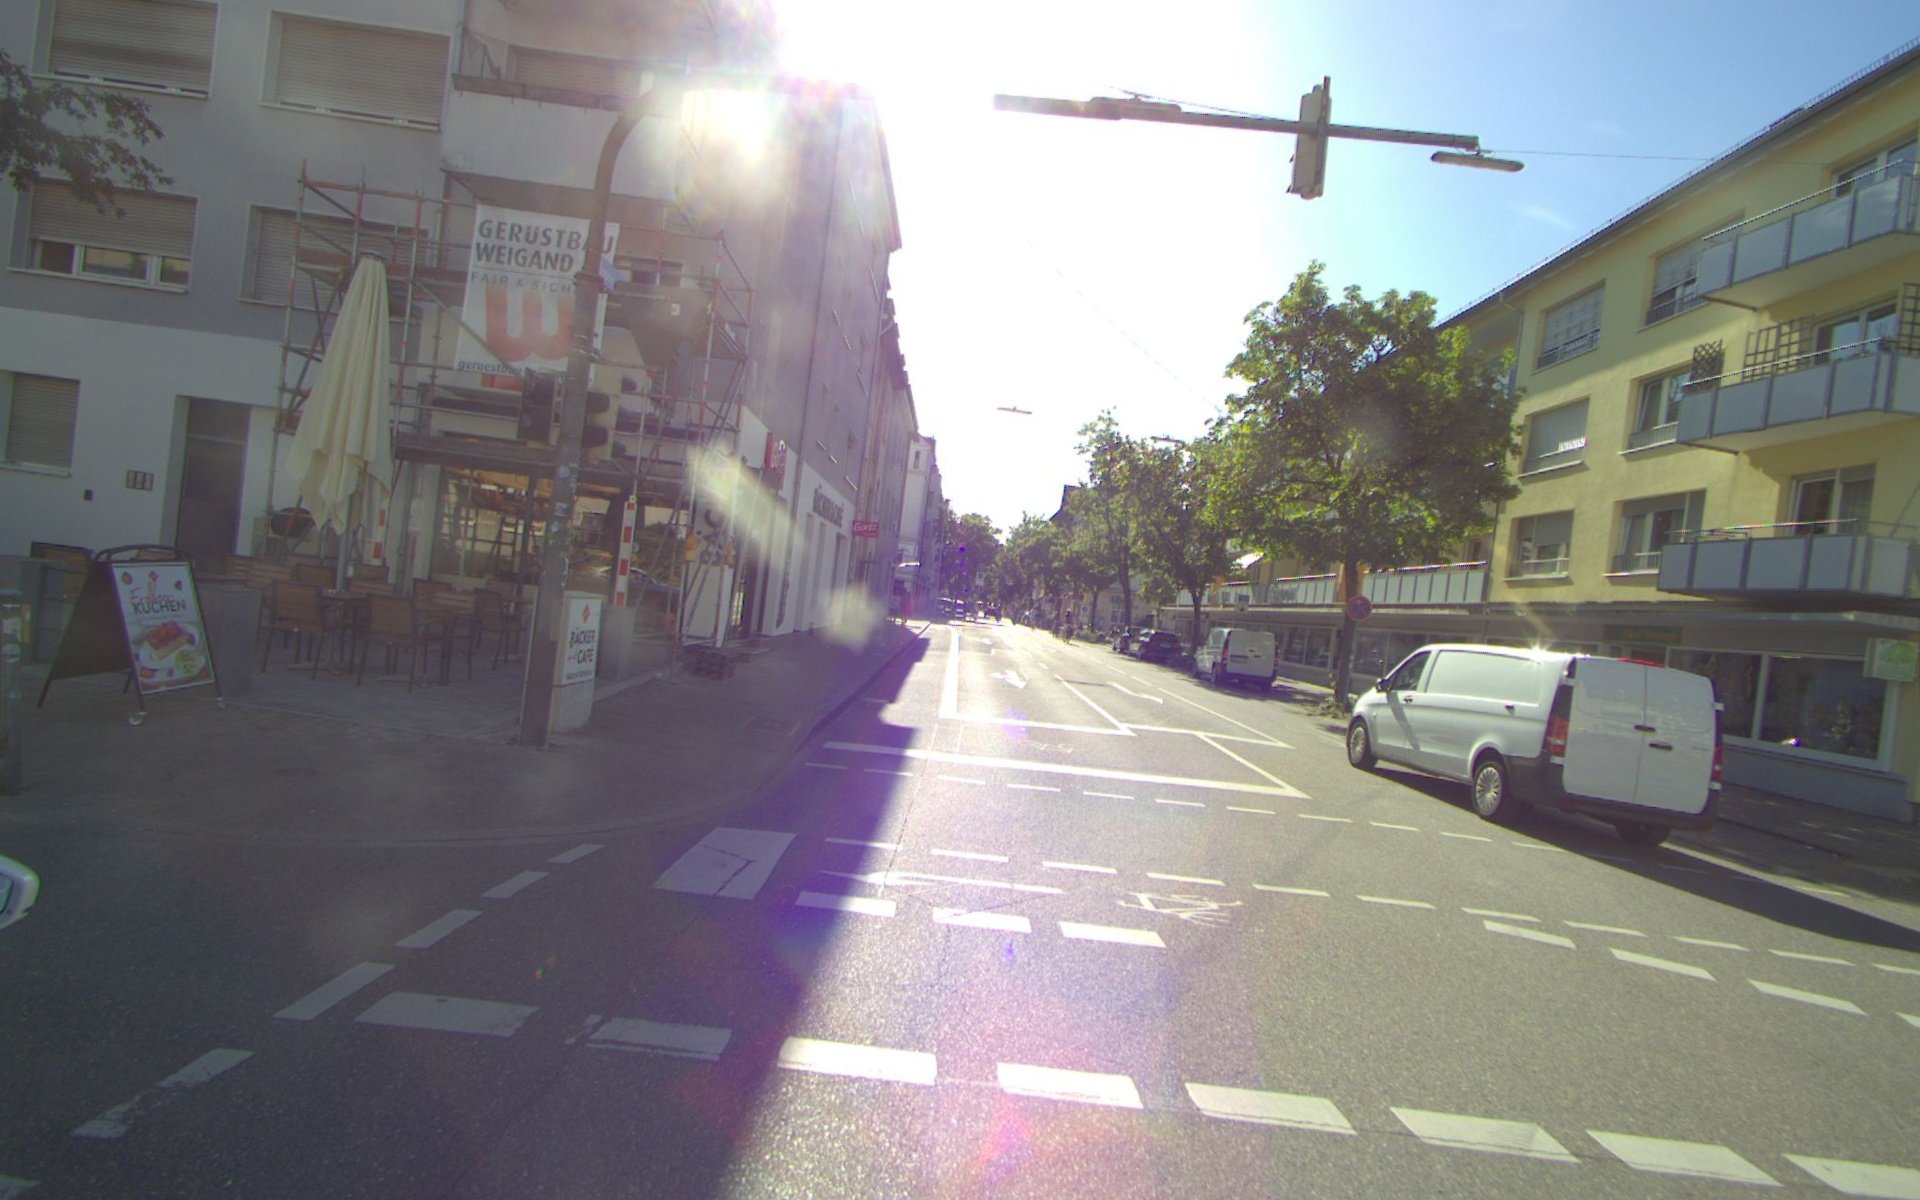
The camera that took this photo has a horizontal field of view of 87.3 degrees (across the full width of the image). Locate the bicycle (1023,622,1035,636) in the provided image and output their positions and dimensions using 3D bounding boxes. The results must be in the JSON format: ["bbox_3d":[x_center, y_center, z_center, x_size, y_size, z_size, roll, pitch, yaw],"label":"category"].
[{"bbox_3d":[4.805,2.015,70.366,0.610,0.877,1.876,7,0,1],"label":"bicycle"}]

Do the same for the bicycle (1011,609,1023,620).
[{"bbox_3d":[5.555,1.397,98.148,0.843,0.956,2.307,9,0,-1],"label":"bicycle"}]

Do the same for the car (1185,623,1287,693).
[{"bbox_3d":[9.158,1.867,33.835,2.015,1.869,4.583,7,0,1],"label":"car"}]

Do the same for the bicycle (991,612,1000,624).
[{"bbox_3d":[3.302,1.703,94.569,0.622,1.054,1.795,6,0,-1],"label":"bicycle"}]

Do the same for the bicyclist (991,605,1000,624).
[{"bbox_3d":[3.350,1.379,94.214,0.622,1.690,1.050,6,1,-1],"label":"bicyclist"}]

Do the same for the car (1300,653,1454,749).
[{"bbox_3d":[8.729,2.065,21.355,1.686,1.502,3.380,7,0,0],"label":"car"}]

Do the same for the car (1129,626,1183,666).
[{"bbox_3d":[8.962,2.094,46.219,1.686,1.502,3.380,7,0,0],"label":"car"}]

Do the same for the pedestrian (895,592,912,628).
[{"bbox_3d":[-2.668,0.458,47.299,0.568,1.603,0.707,7,1,-6],"label":"pedestrian"}]

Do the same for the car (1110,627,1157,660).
[{"bbox_3d":[8.959,2.235,52.178,1.686,1.331,3.380,7,0,0],"label":"car"}]

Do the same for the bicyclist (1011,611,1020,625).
[{"bbox_3d":[5.033,1.660,91.514,0.681,1.208,0.595,7,1,1],"label":"bicyclist"}]

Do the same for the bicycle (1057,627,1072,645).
[{"bbox_3d":[5.761,1.951,55.435,0.538,0.877,1.876,7,0,1],"label":"bicycle"}]

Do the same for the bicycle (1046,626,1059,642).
[{"bbox_3d":[5.672,2.064,61.861,0.538,0.877,1.876,7,0,1],"label":"bicycle"}]

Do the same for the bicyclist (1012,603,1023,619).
[{"bbox_3d":[5.601,1.070,98.158,0.843,1.330,1.210,9,1,-1],"label":"bicyclist"}]

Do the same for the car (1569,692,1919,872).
[{"bbox_3d":[9.871,2.199,13.013,1.686,1.502,3.479,7,0,0],"label":"car"}]

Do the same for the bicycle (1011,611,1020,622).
[{"bbox_3d":[5.047,1.511,91.495,0.681,0.877,1.876,7,0,1],"label":"bicycle"}]

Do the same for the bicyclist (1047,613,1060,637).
[{"bbox_3d":[5.739,1.508,61.877,0.538,1.400,0.822,7,1,1],"label":"bicyclist"}]

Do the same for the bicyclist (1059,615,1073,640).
[{"bbox_3d":[5.812,1.520,55.377,0.538,1.278,0.802,7,1,1],"label":"bicyclist"}]

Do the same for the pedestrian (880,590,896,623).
[{"bbox_3d":[-3.399,0.317,47.610,0.568,1.486,0.701,7,1,-6],"label":"pedestrian"}]

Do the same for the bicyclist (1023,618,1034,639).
[{"bbox_3d":[4.802,2.004,70.256,0.579,1.400,0.822,7,1,1],"label":"bicyclist"}]

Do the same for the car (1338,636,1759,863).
[{"bbox_3d":[6.624,1.540,12.180,1.939,1.832,4.831,7,0,-2],"label":"car"}]
